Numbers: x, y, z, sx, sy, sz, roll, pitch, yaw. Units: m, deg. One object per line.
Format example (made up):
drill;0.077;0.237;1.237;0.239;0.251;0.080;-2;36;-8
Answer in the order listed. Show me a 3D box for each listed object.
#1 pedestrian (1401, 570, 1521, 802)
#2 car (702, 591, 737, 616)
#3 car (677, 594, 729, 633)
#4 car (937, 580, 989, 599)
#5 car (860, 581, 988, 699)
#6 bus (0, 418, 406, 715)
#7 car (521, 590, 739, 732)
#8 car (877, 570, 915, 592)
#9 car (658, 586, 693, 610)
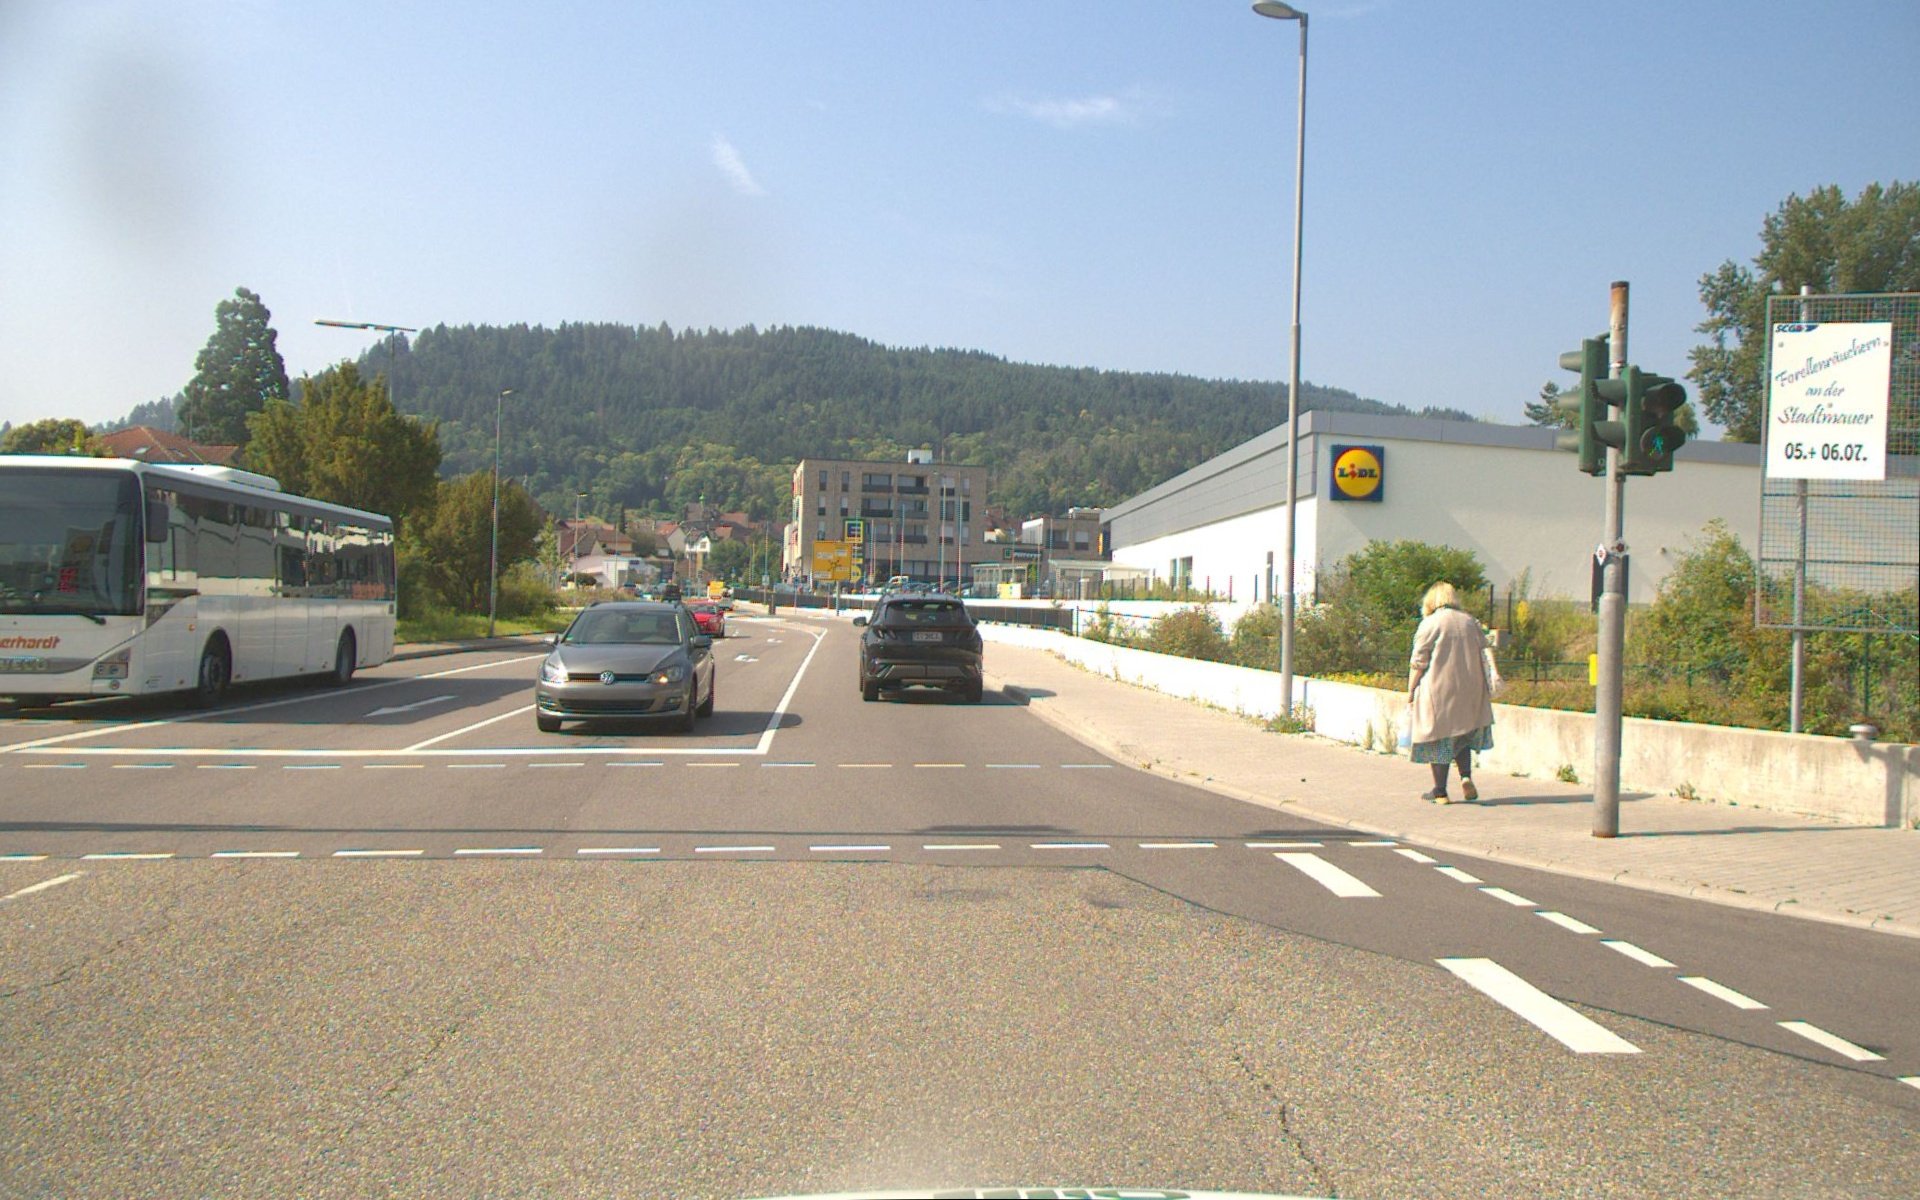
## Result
pedestrian;3.766;0.635;12.460;0.696;1.700;0.593;1;0;-3
car;-19.905;0.295;136.704;1.967;2.049;3.971;1;0;-23
car;-10.604;0.553;68.452;1.801;1.518;4.427;1;0;-5
car;0.235;-0.881;136.607;4.006;1.428;1.475;2;0;-23
car;-0.496;0.596;26.330;1.842;1.713;4.000;1;0;1
bus;-11.137;-0.372;24.741;2.569;3.368;11.945;1;0;-5
car;-3.823;0.660;19.850;1.736;1.499;4.219;1;0;0
car;-6.571;-1.911;169.773;3.906;2.173;1.999;1;0;-2
car;-25.638;-0.178;149.064;1.951;2.049;4.003;1;0;8
